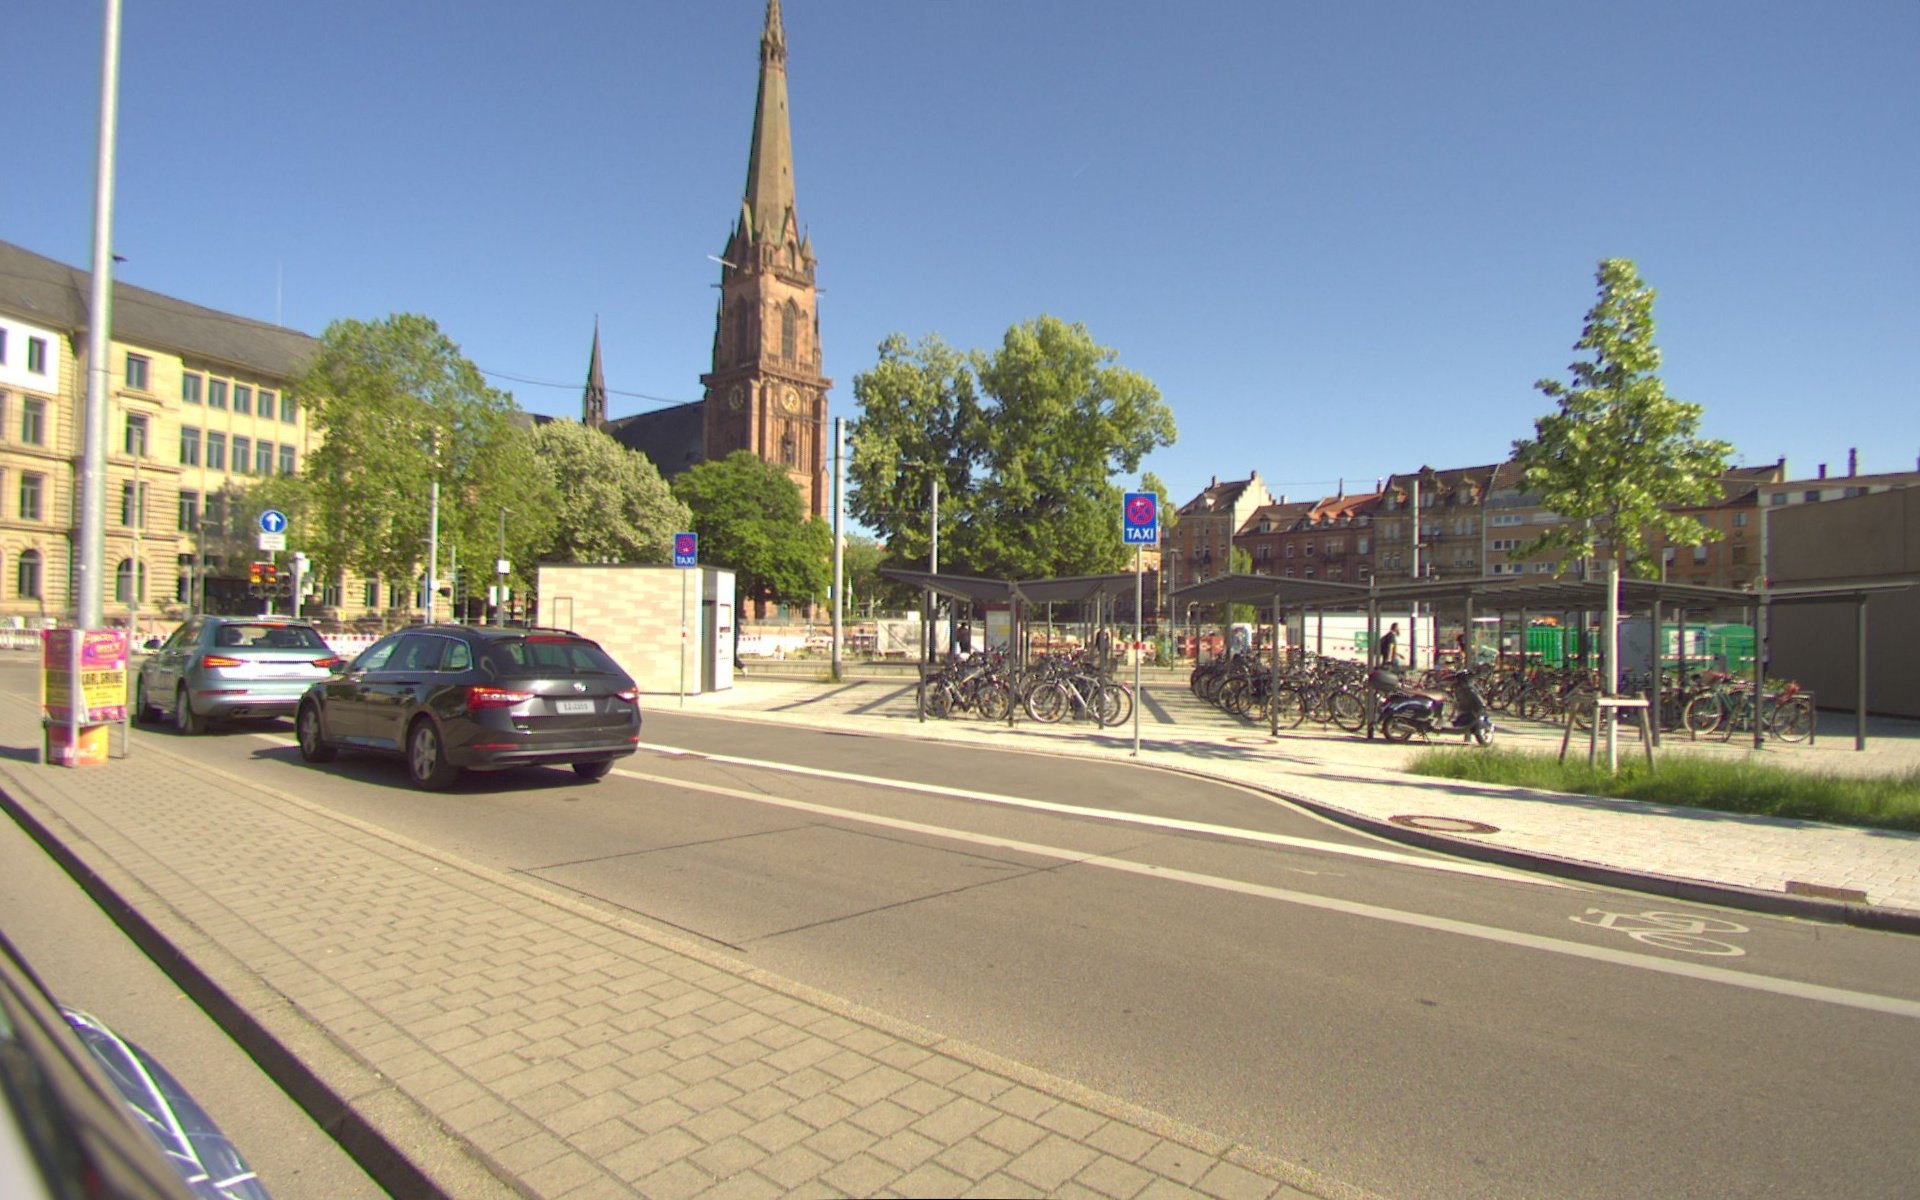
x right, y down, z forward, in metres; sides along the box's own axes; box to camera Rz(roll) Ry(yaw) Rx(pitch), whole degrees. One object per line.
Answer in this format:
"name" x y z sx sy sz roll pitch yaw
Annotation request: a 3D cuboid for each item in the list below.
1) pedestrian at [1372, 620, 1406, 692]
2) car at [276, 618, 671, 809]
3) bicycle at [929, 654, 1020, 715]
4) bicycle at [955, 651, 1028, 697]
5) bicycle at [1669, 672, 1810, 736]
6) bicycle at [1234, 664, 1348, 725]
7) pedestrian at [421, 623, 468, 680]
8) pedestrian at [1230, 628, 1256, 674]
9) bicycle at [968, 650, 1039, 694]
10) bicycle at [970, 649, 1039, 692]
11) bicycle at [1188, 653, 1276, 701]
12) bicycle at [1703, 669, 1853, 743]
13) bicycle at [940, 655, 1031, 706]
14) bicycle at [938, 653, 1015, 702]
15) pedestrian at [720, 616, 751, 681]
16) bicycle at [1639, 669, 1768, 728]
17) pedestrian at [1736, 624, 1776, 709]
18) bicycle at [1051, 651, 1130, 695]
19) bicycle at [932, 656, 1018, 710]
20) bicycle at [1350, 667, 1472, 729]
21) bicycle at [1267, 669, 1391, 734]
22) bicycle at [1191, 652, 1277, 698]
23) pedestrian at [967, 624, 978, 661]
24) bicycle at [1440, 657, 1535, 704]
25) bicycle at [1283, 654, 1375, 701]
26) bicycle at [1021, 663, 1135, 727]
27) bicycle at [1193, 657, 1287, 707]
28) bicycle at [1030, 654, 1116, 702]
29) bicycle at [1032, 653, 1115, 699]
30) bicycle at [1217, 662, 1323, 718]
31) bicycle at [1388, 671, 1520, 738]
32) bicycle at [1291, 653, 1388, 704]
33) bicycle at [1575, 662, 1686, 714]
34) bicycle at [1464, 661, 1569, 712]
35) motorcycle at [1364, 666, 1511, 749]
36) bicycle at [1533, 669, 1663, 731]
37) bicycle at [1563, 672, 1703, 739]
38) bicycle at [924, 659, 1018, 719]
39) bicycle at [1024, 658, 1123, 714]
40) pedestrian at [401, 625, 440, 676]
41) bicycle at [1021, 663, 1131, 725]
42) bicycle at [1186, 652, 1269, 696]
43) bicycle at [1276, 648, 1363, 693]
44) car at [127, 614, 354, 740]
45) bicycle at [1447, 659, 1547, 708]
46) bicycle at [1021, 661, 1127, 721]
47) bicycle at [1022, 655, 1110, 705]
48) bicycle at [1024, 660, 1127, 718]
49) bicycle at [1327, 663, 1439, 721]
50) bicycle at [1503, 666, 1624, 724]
"pedestrian" 11.135 1.452 26.307 0.676 1.848 0.564 0 -2 8
"car" -5.030 0.966 10.165 4.571 1.511 1.771 -1 -3 39
"bicycle" 0.279 1.559 18.783 1.652 1.069 0.456 0 -2 8
"bicycle" 0.745 1.709 23.488 1.652 1.016 0.456 0 -2 8
"bicycle" 13.128 1.743 17.071 1.882 1.016 0.456 0 -2 8
"bicycle" 5.899 1.683 18.098 1.882 1.016 0.456 0 -2 8
"pedestrian" -16.790 1.663 32.979 1.130 1.793 0.965 -1 -2 40
"pedestrian" 11.235 2.024 40.194 0.792 1.793 0.977 0 -2 3
"bicycle" 1.041 1.715 24.232 1.652 1.016 0.456 0 -2 8
"bicycle" 1.106 1.729 24.948 1.652 1.016 0.456 0 -2 8
"bicycle" 6.148 1.738 22.949 1.882 1.016 0.456 0 -2 8
"bicycle" 13.081 1.685 16.212 1.882 1.106 0.456 0 -2 8
"bicycle" 0.543 1.675 21.232 1.882 1.016 0.456 0 -2 8
"bicycle" 0.371 1.690 22.230 1.652 1.016 0.456 0 -2 8
"pedestrian" -6.206 1.340 27.981 0.750 1.781 0.661 1 -2 -7
"bicycle" 13.468 1.777 18.370 1.882 1.016 0.456 0 -2 8
"pedestrian" 19.501 1.605 24.790 0.718 2.029 0.678 -1 -2 41
"bicycle" 3.161 1.776 24.605 1.882 1.016 0.456 0 -2 8
"bicycle" 0.305 1.620 19.894 1.652 1.016 0.456 0 -2 8
"bicycle" 7.894 1.709 17.769 1.882 1.016 0.456 0 -2 8
"bicycle" 6.121 1.682 16.846 1.882 1.016 0.456 0 -2 8
"bicycle" 6.365 1.731 23.573 1.882 1.016 0.456 0 -2 8
"pedestrian" 0.585 1.993 47.622 0.399 1.734 0.419 1 -2 -11
"bicycle" 12.078 1.836 23.200 1.882 1.016 0.456 0 -2 8
"bicycle" 8.315 1.735 22.824 1.882 1.016 0.456 0 -2 8
"bicycle" 1.989 1.602 17.120 1.882 1.016 0.456 0 -2 8
"bicycle" 5.965 1.747 21.615 1.882 1.016 0.456 0 -2 8
"bicycle" 2.510 1.726 22.540 1.882 1.016 0.456 0 -2 8
"bicycle" 2.605 1.748 23.310 1.882 1.016 0.456 0 -2 8
"bicycle" 5.897 1.708 19.329 1.882 1.016 0.456 0 -2 8
"bicycle" 8.028 1.692 16.499 1.882 1.016 0.456 0 -2 8
"bicycle" 8.056 1.661 21.525 1.882 1.016 0.456 0 -2 8
"bicycle" 13.873 1.818 20.977 1.882 1.016 0.456 0 -2 8
"bicycle" 11.713 1.814 21.319 1.882 1.016 0.456 0 -2 8
"motorcycle" 7.161 1.602 15.231 1.924 1.160 0.516 0 -2 6
"bicycle" 11.100 1.732 17.648 1.882 1.016 0.456 0 -2 8
"bicycle" 10.972 1.718 16.543 1.882 1.016 0.456 0 -2 8
"bicycle" 0.201 1.585 18.197 1.652 1.016 0.456 0 -2 8
"bicycle" 2.196 1.659 19.591 1.882 1.016 0.456 0 -2 8
"pedestrian" -19.268 1.786 36.135 0.802 1.793 0.965 -1 -2 40
"bicycle" 2.018 1.624 17.680 1.882 1.016 0.456 0 -2 8
"bicycle" 6.393 1.762 24.231 1.882 1.016 0.456 0 -2 8
"bicycle" 8.486 1.652 23.916 1.882 1.016 0.456 0 -2 8
"car" -10.441 1.020 14.566 4.241 1.554 1.835 -1 -4 44
"bicycle" 11.783 1.824 22.249 1.882 1.016 0.456 0 -2 8
"bicycle" 2.054 1.633 18.267 1.882 1.016 0.456 0 -2 8
"bicycle" 2.296 1.722 21.926 1.882 1.016 0.456 0 -2 8
"bicycle" 2.136 1.645 18.749 1.882 1.016 0.456 0 -2 8
"bicycle" 7.917 1.712 19.002 1.882 1.016 0.456 0 -2 8
"bicycle" 11.163 1.756 18.763 1.882 1.016 0.456 0 -2 8
